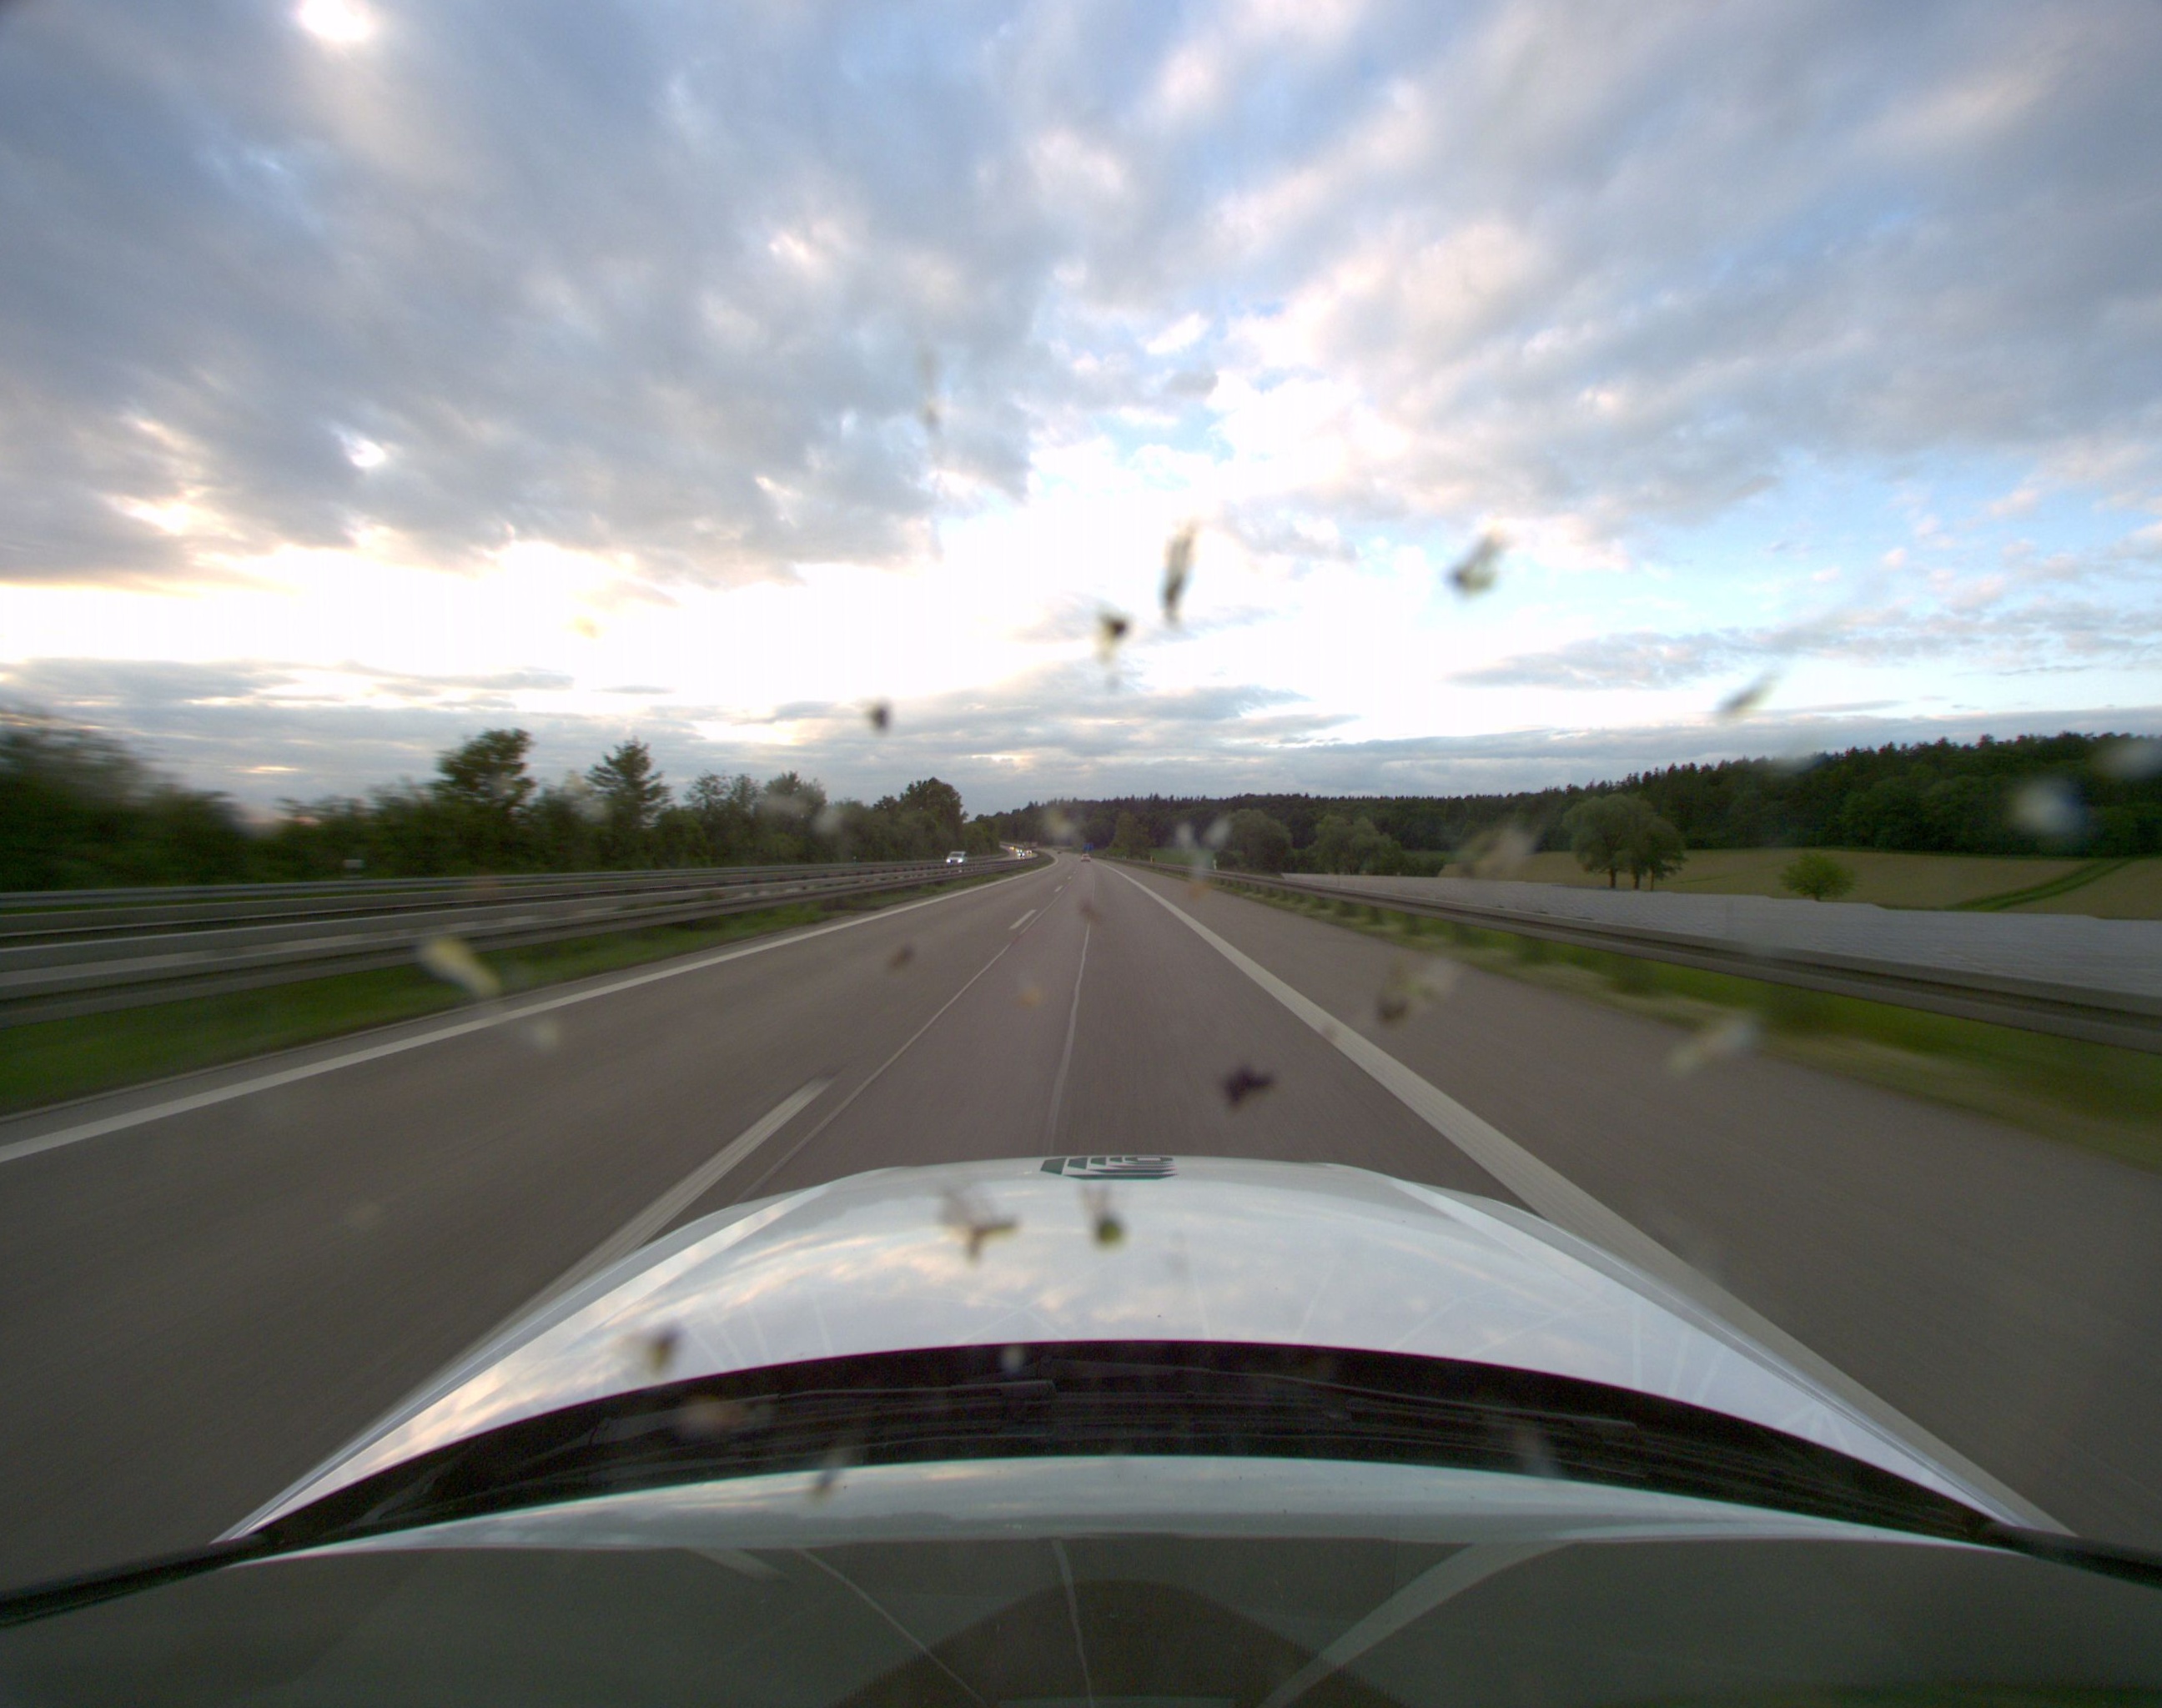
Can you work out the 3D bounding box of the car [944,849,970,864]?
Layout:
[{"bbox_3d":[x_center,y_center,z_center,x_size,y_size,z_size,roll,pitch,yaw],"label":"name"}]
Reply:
[{"bbox_3d":[-15.134,0.267,99.530,1.986,1.626,5.738,2,1,2],"label":"car"}]

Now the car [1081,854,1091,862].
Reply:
[{"bbox_3d":[1.052,0.869,166.663,1.945,1.531,4.080,2,1,1],"label":"car"}]
